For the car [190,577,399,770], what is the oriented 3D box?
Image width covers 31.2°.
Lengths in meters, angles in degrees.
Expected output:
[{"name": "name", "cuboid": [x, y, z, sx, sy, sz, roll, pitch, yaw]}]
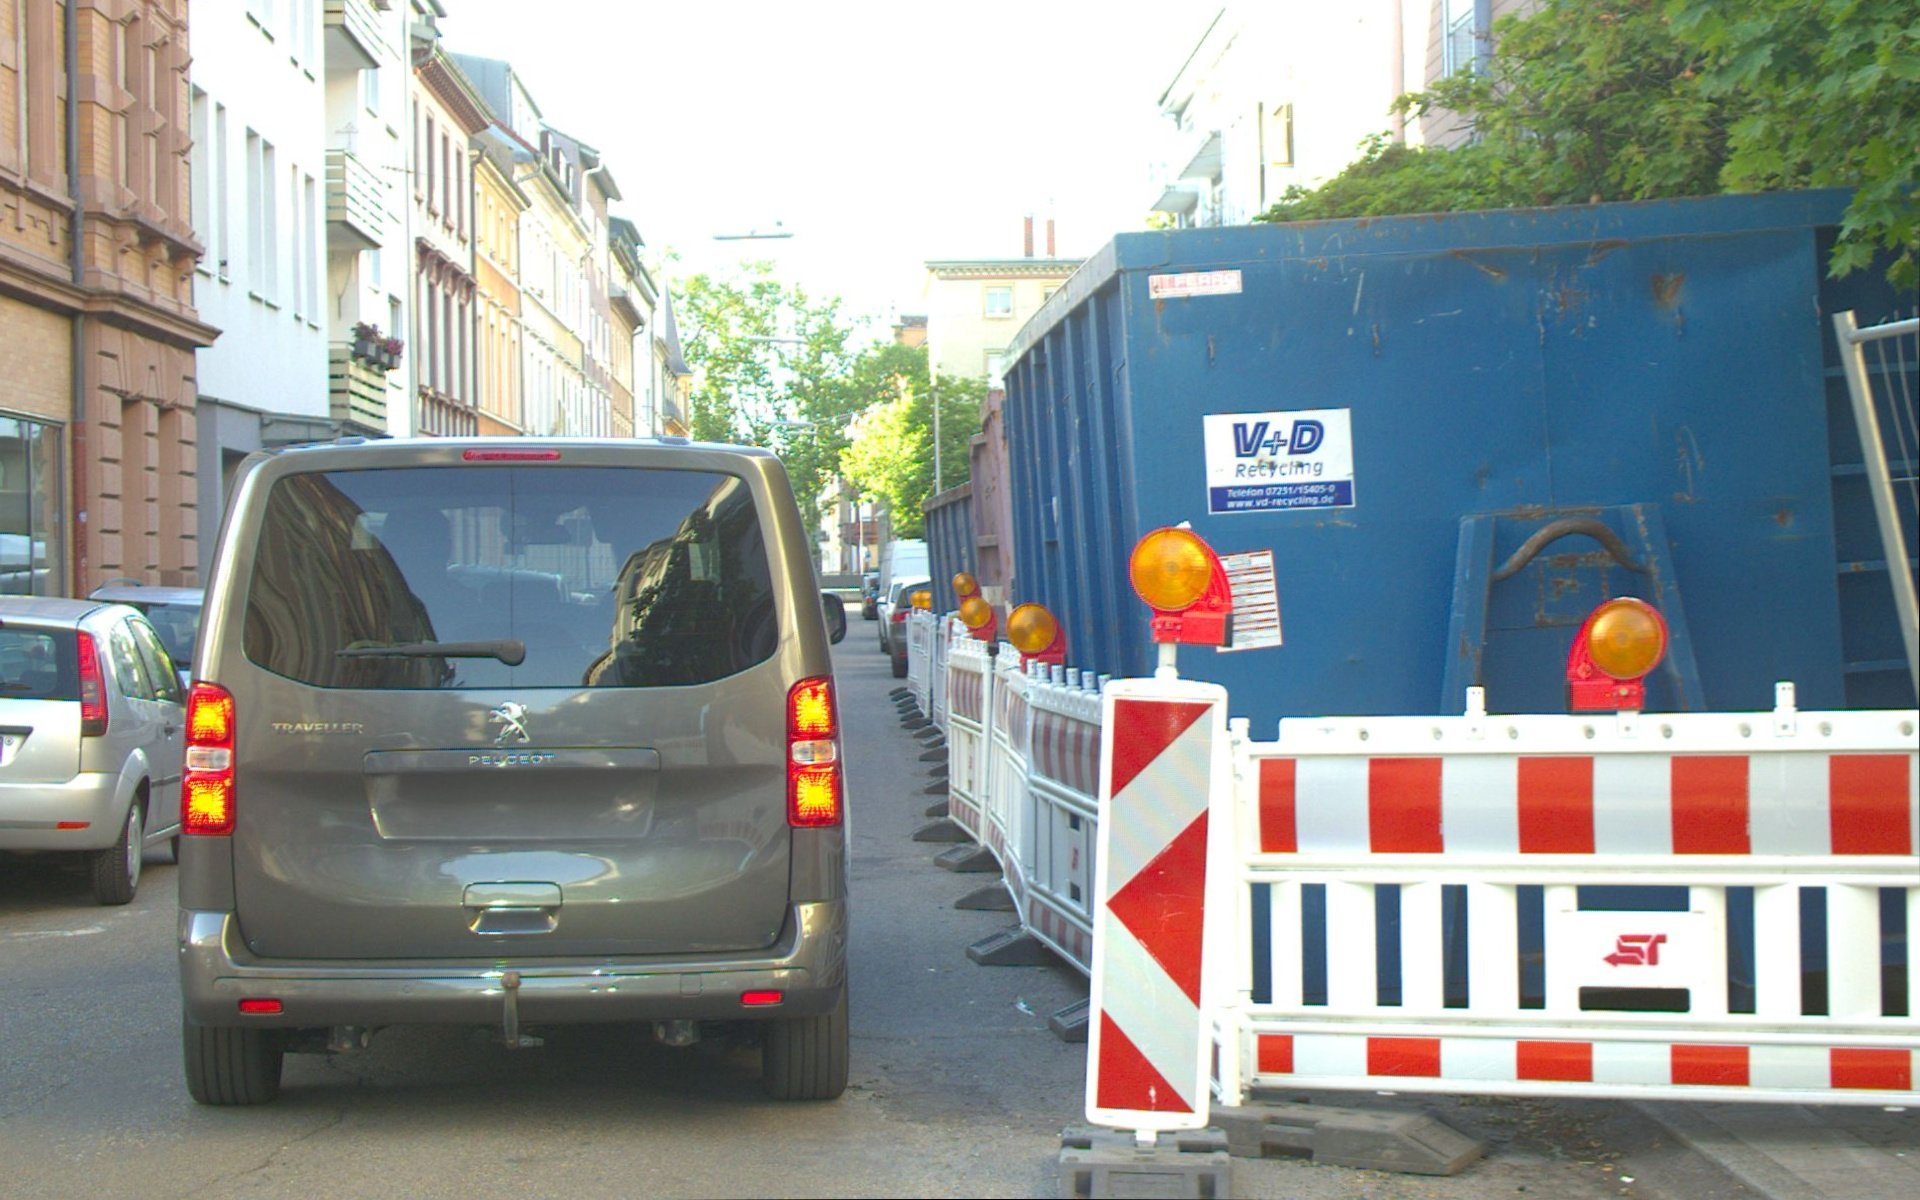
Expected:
[{"name": "car", "cuboid": [-5.731, 0.599, 29.822, 1.395, 1.583, 2.794, 0, 0, -3]}]

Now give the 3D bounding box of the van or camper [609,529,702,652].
[{"name": "van or camper", "cuboid": [-6.943, -0.225, 79.007, 1.949, 2.640, 7.142, -2, 0, -4]}]

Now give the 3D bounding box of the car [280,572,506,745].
[{"name": "car", "cuboid": [-5.518, 0.527, 33.865, 1.740, 1.594, 4.015, 0, 0, -3]}]

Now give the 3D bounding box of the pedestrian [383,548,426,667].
[{"name": "pedestrian", "cuboid": [-7.707, 0.099, 47.684, 0.495, 1.633, 0.665, 1, 0, -2]}]

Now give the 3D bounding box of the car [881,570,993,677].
[{"name": "car", "cuboid": [-0.368, 0.352, 56.415, 1.749, 1.677, 4.525, 0, 1, 0]}]

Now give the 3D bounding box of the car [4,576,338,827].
[{"name": "car", "cuboid": [-5.227, 0.622, 23.157, 1.555, 1.503, 3.598, 2, 0, -3]}]

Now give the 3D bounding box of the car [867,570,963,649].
[{"name": "car", "cuboid": [-0.999, 0.189, 73.649, 1.722, 1.606, 4.589, -1, 0, -5]}]

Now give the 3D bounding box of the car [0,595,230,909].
[{"name": "car", "cuboid": [-4.833, 0.702, 17.640, 1.632, 1.425, 3.555, 0, 0, -4]}]

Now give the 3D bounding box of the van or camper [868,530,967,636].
[{"name": "van or camper", "cuboid": [-1.158, -0.447, 89.239, 2.099, 2.593, 7.513, -2, 0, -4]}]

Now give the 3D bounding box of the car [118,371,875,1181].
[{"name": "car", "cuboid": [-1.291, 0.428, 10.856, 1.857, 2.007, 4.000, -2, 1, -3]}]
